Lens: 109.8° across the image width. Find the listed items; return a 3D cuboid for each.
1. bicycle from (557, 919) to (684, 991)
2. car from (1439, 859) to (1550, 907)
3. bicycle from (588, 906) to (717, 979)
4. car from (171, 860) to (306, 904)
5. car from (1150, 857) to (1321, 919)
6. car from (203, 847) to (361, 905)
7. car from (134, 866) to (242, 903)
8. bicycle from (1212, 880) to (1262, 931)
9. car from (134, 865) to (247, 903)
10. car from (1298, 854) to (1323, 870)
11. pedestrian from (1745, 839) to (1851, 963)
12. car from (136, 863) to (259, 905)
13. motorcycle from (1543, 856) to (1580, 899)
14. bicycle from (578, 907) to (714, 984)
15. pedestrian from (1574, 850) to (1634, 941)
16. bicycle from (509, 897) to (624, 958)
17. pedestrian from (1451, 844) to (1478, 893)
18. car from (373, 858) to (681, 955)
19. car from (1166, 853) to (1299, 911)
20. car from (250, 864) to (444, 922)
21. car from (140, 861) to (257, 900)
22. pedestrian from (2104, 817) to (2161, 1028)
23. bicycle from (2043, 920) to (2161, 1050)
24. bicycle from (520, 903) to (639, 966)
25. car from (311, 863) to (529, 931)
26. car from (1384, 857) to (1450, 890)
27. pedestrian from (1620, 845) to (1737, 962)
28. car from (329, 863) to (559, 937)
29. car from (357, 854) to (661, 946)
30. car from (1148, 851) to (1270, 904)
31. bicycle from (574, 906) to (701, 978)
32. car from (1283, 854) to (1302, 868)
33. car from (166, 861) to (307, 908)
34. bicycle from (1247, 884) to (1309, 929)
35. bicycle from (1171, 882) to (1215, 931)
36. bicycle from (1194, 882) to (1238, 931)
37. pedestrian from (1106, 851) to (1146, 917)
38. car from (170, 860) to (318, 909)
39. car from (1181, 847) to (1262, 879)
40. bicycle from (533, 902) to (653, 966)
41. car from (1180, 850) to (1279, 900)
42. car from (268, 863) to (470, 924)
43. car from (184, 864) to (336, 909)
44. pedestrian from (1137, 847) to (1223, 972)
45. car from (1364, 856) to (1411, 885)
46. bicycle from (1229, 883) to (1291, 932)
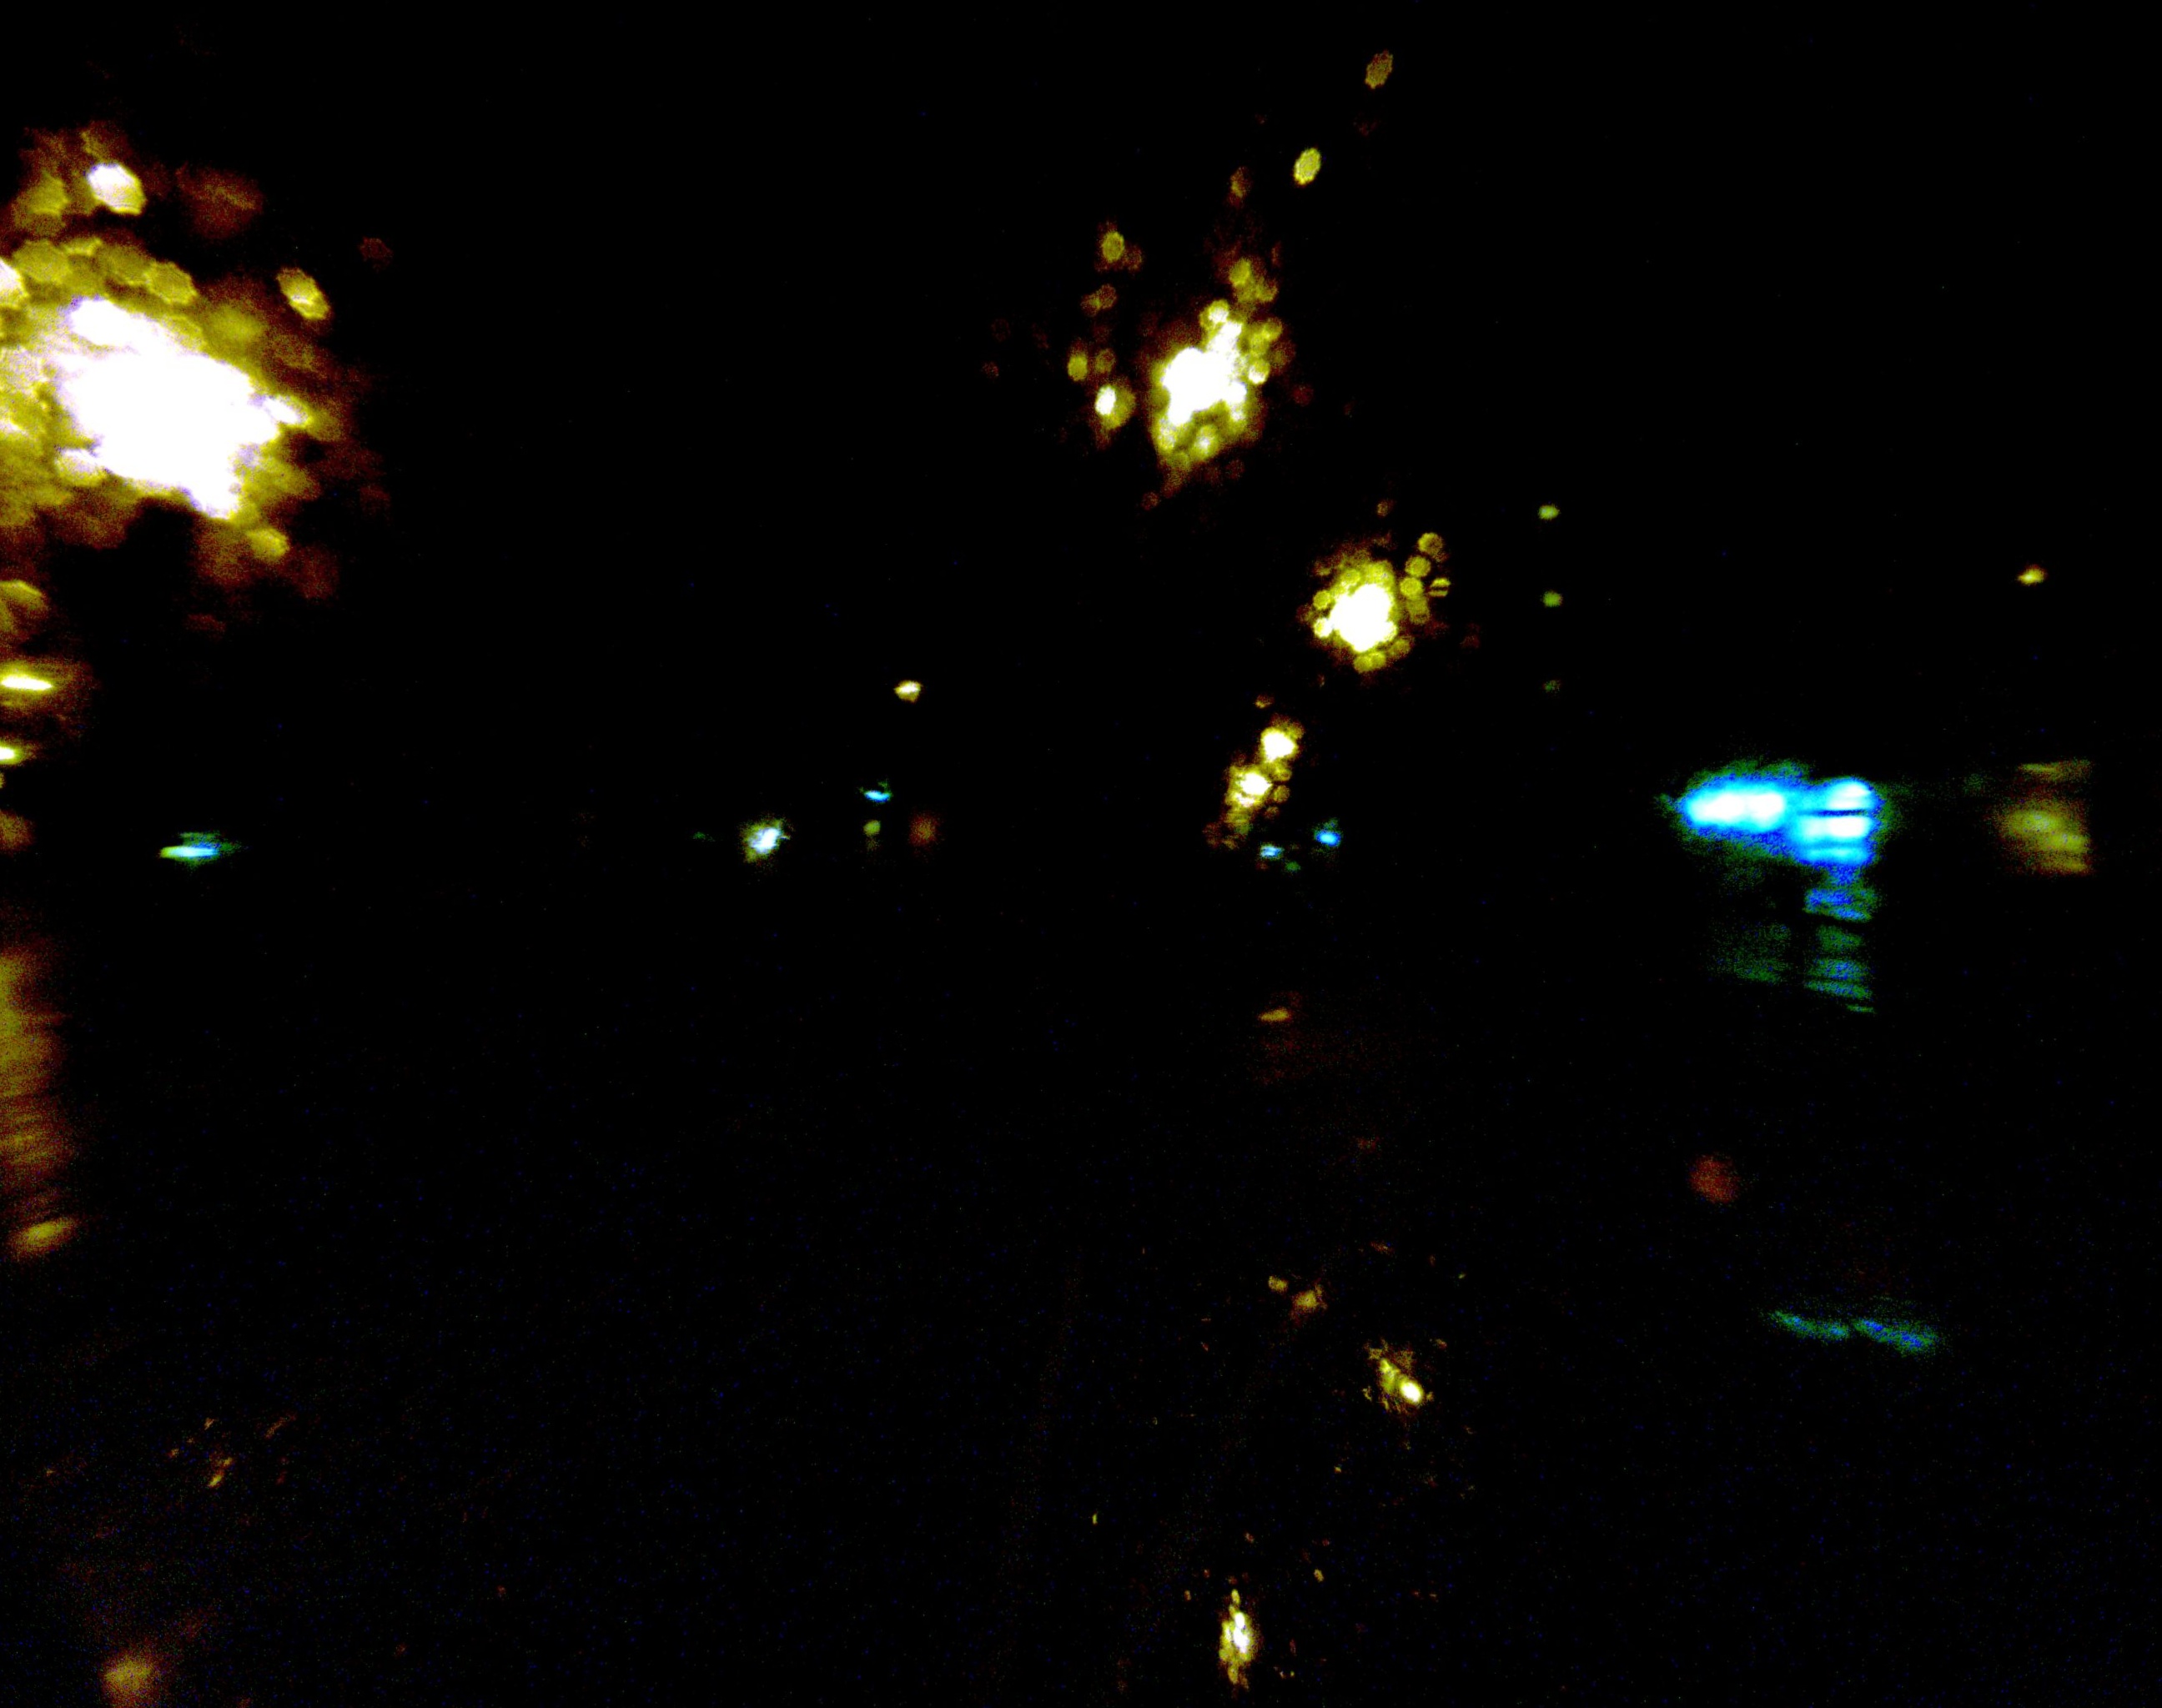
[{"bbox_3d":[-7.688,1.660,12.768,0.402,1.002,1.814,-1,-1,34],"label":"bicycle"},{"bbox_3d":[14.201,0.934,26.463,1.850,1.469,5.035,-1,0,10],"label":"car"},{"bbox_3d":[-6.890,1.396,12.306,0.402,1.002,1.814,-1,-1,34],"label":"bicycle"},{"bbox_3d":[-39.101,1.270,35.343,1.995,1.761,4.008,-3,0,39],"label":"car"},{"bbox_3d":[4.229,0.910,20.837,4.267,1.564,1.769,1,0,-19],"label":"car"},{"bbox_3d":[-30.944,0.812,29.524,1.995,2.002,4.008,-3,0,39],"label":"car"},{"bbox_3d":[-52.562,1.758,44.775,1.994,2.001,4.009,-1,-1,36],"label":"car"},{"bbox_3d":[3.703,1.206,18.165,0.336,1.021,1.642,-2,4,-20],"label":"bicycle"},{"bbox_3d":[-50.455,1.656,43.109,1.994,2.001,4.009,-1,-1,36],"label":"car"},{"bbox_3d":[22.503,0.793,74.644,1.850,1.469,3.738,-2,0,9],"label":"car"},{"bbox_3d":[11.048,0.696,11.751,0.675,1.821,1.079,-2,0,12],"label":"pedestrian"},{"bbox_3d":[-45.847,1.512,39.486,1.994,2.001,4.009,-1,-1,36],"label":"car"},{"bbox_3d":[17.102,0.818,27.087,0.538,1.462,1.459,-2,0,9],"label":"motorcycle"},{"bbox_3d":[-6.691,1.374,11.784,0.454,1.002,1.814,-1,-1,34],"label":"bicycle"},{"bbox_3d":[10.419,0.822,15.151,0.827,1.760,0.601,-2,0,22],"label":"pedestrian"},{"bbox_3d":[-9.720,1.364,14.427,0.402,1.002,1.781,-1,-1,34],"label":"bicycle"},{"bbox_3d":[17.766,0.669,35.229,0.800,2.228,1.117,-1,0,8],"label":"pedestrian"},{"bbox_3d":[-11.959,1.015,16.861,1.995,1.752,5.107,-2,-1,33],"label":"car"},{"bbox_3d":[4.745,0.843,23.855,3.745,1.702,1.768,1,0,-25],"label":"car"},{"bbox_3d":[-25.249,1.289,26.313,1.995,1.752,4.472,-2,-1,33],"label":"car"},{"bbox_3d":[-48.124,1.412,41.489,1.994,2.001,4.009,-1,-1,36],"label":"car"},{"bbox_3d":[9.617,0.581,6.307,0.714,1.801,1.125,0,0,-4],"label":"pedestrian"},{"bbox_3d":[9.619,1.150,6.385,0.714,1.053,1.801,0,0,-5],"label":"bicycle"},{"bbox_3d":[-9.274,1.454,14.125,0.402,1.002,1.814,-1,-1,34],"label":"bicycle"},{"bbox_3d":[-19.527,1.194,22.671,1.995,1.752,4.472,-2,-1,33],"label":"car"},{"bbox_3d":[16.193,0.892,36.812,1.719,1.470,4.162,-1,0,7],"label":"car"},{"bbox_3d":[9.955,0.785,12.742,0.957,1.852,1.416,-1,0,8],"label":"pedestrian"},{"bbox_3d":[-17.482,1.172,21.096,1.995,1.752,4.472,-2,-1,33],"label":"car"},{"bbox_3d":[-13.654,0.989,18.624,1.995,1.878,5.559,-2,-1,33],"label":"car"},{"bbox_3d":[4.408,0.794,26.096,3.799,1.702,1.745,1,0,-25],"label":"car"},{"bbox_3d":[-7.276,1.414,12.558,0.378,1.002,1.814,-1,-1,34],"label":"bicycle"},{"bbox_3d":[25.655,0.838,92.284,1.850,1.571,3.738,-2,0,9],"label":"car"},{"bbox_3d":[-37.216,1.312,33.563,1.995,1.761,4.008,-3,0,39],"label":"car"},{"bbox_3d":[4.831,1.265,18.706,0.337,1.020,1.642,1,-1,-37],"label":"bicycle"},{"bbox_3d":[2.605,1.213,17.844,0.336,1.020,1.643,0,1,-16],"label":"bicycle"},{"bbox_3d":[3.178,1.219,18.040,0.336,1.086,1.644,0,-1,-16],"label":"bicycle"},{"bbox_3d":[1.273,0.815,21.355,0.789,1.807,0.812,0,2,34],"label":"pedestrian"},{"bbox_3d":[-35.293,1.258,32.114,1.995,1.763,4.008,-3,0,39],"label":"car"},{"bbox_3d":[9.029,0.548,48.846,4.716,1.969,1.976,-1,1,-20],"label":"car"},{"bbox_3d":[-8.810,1.410,13.800,0.402,1.002,1.814,-1,-1,34],"label":"bicycle"},{"bbox_3d":[6.248,0.856,31.986,3.745,2.017,1.718,1,0,-25],"label":"car"},{"bbox_3d":[-23.341,1.241,25.097,1.995,1.752,4.472,-2,-1,33],"label":"car"},{"bbox_3d":[-33.342,1.296,30.945,1.995,1.543,4.008,-3,0,39],"label":"car"},{"bbox_3d":[1.542,0.820,11.823,0.986,1.823,0.876,-1,1,-44],"label":"pedestrian"},{"bbox_3d":[16.892,0.900,42.067,1.719,1.469,3.789,-2,0,12],"label":"car"},{"bbox_3d":[4.306,1.273,18.387,0.336,1.020,1.641,1,1,-35],"label":"bicycle"}]
